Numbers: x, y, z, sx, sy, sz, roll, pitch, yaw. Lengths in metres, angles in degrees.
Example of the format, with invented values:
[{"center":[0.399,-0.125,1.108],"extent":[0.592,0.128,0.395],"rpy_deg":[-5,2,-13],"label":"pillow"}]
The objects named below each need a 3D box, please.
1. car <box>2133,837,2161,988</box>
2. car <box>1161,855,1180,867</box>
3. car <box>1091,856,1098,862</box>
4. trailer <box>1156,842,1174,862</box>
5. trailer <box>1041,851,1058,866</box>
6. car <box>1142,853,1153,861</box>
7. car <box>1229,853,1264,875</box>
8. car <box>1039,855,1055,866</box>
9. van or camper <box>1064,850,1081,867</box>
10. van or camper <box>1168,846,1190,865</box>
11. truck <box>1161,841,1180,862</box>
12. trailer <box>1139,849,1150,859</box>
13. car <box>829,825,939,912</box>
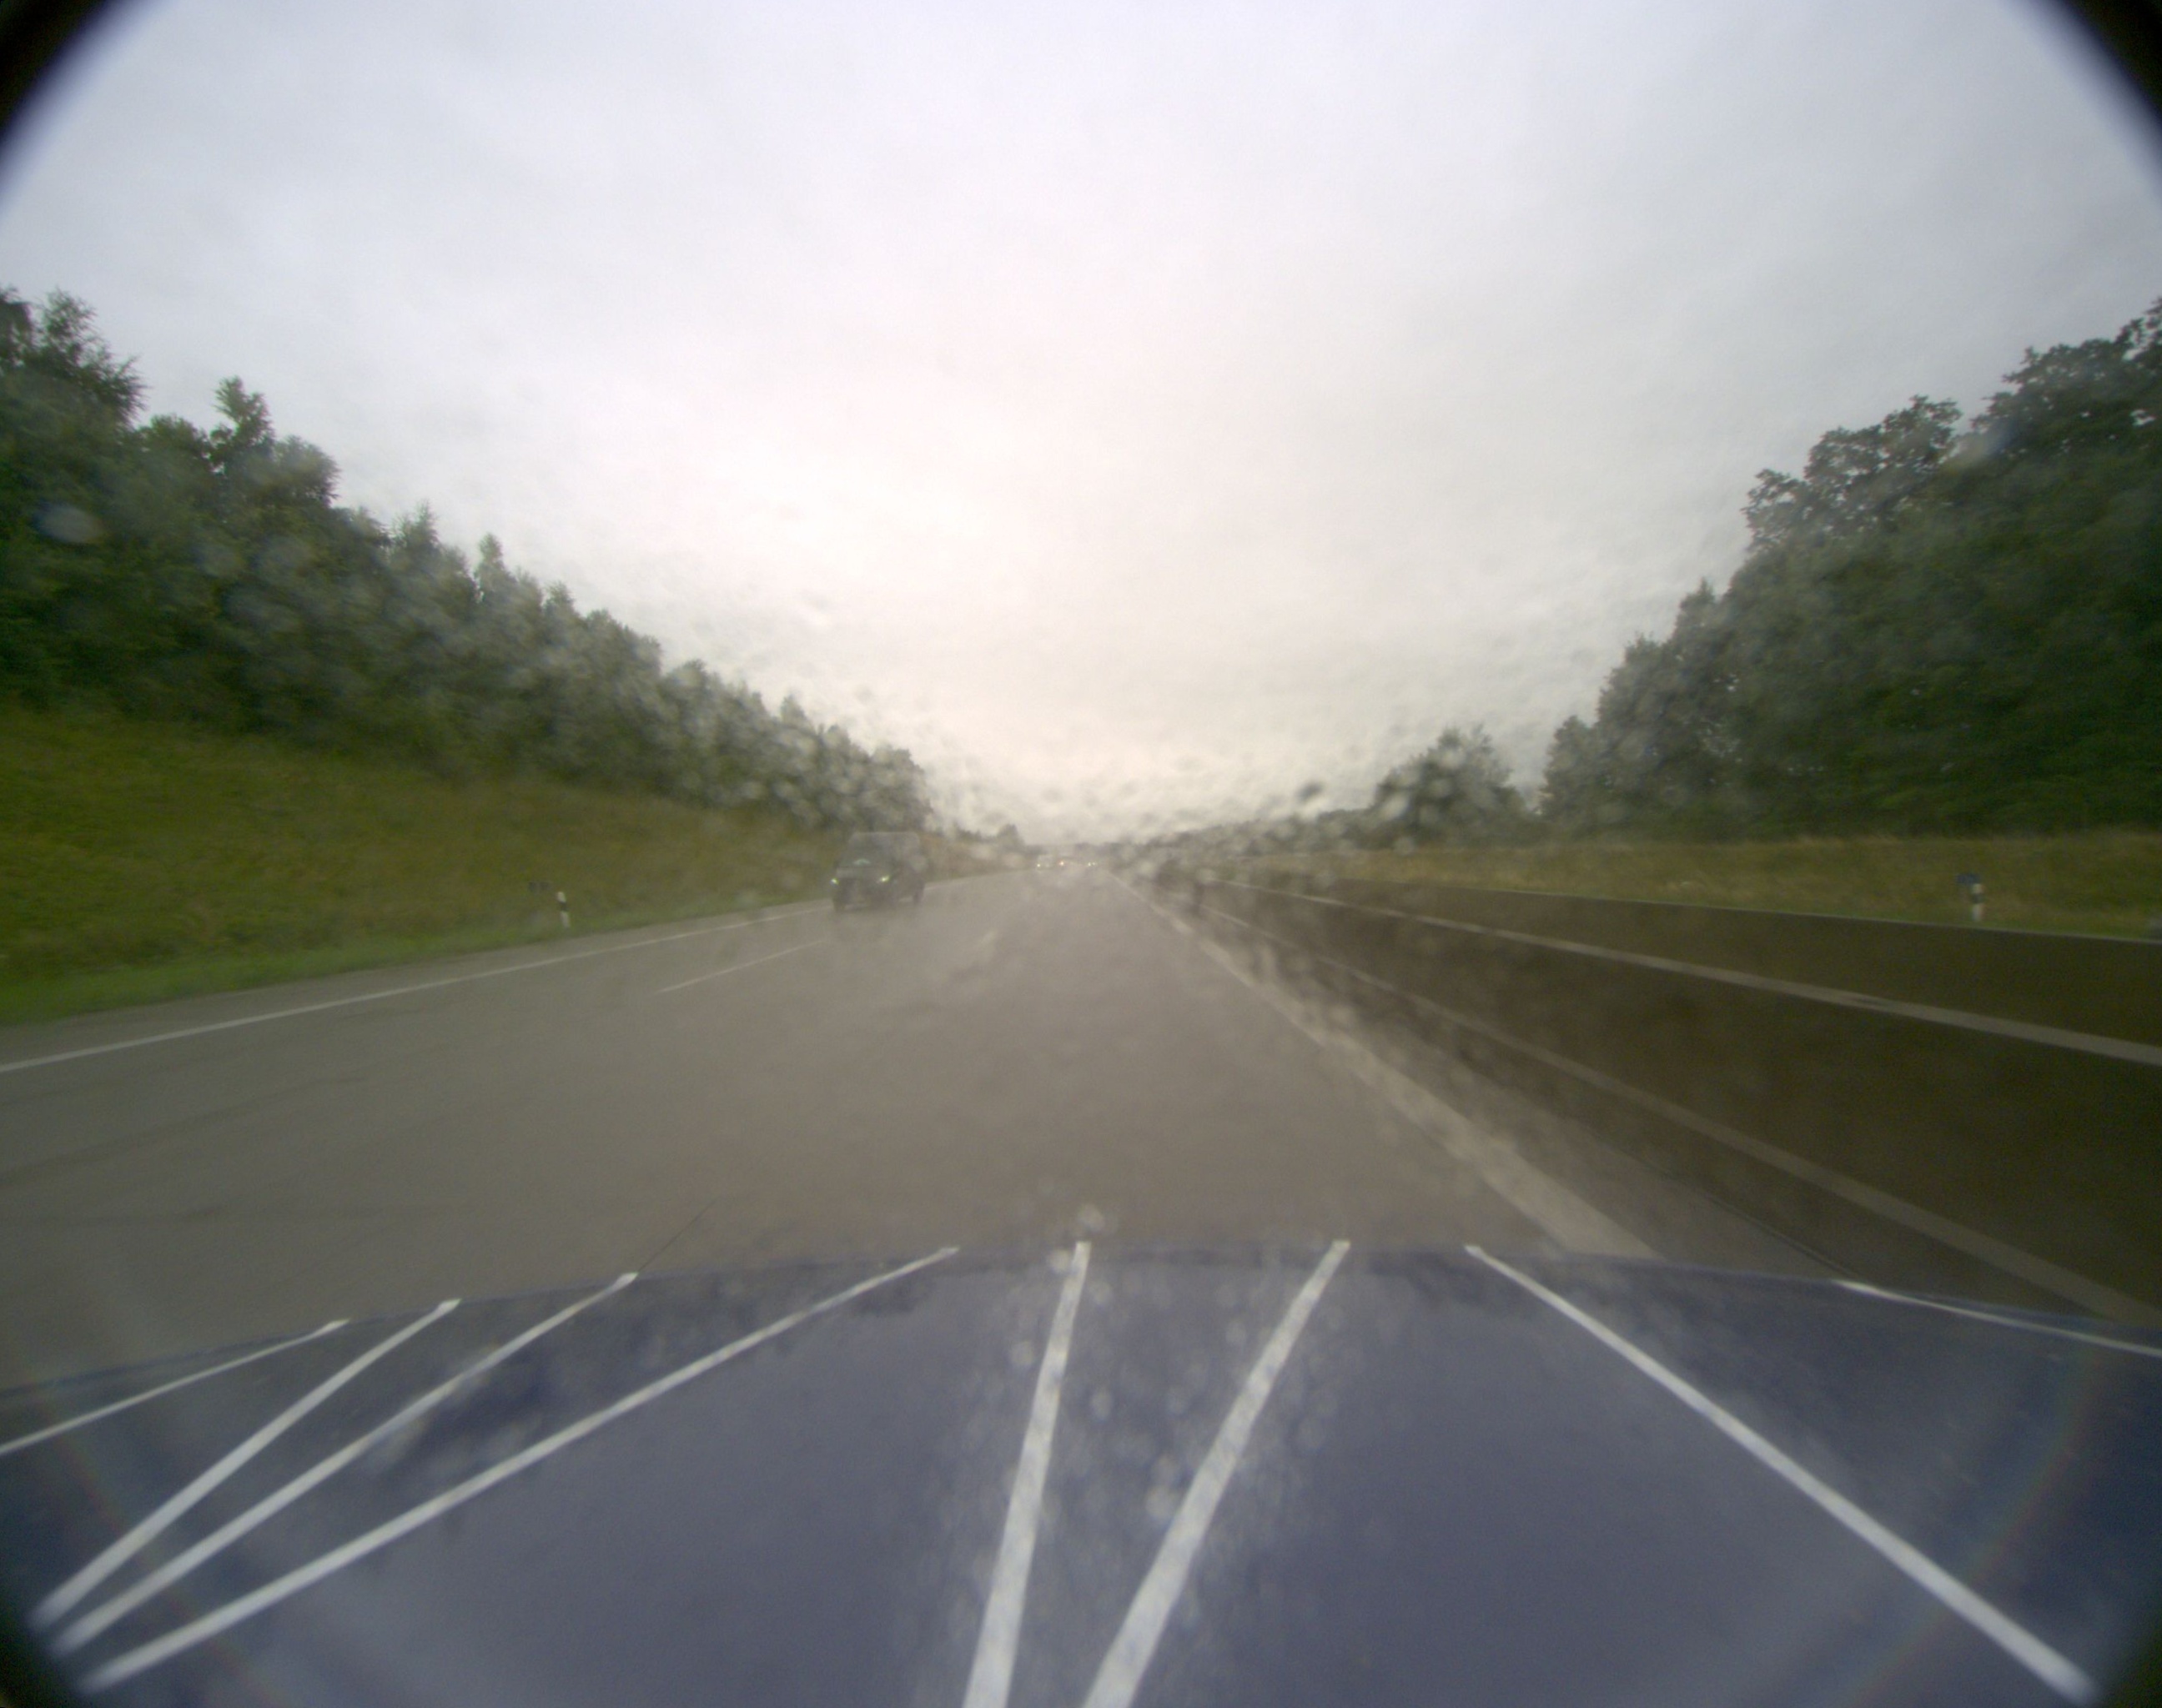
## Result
[{"center":[12.728,0.673,6.163],"extent":[1.884,1.655,4.687],"rpy_deg":[0,1,1],"label":"car"},{"center":[10.247,0.786,87.042],"extent":[1.743,1.326,4.099],"rpy_deg":[0,0,1],"label":"car"},{"center":[3.269,1.172,181.122],"extent":[1.733,1.450,4.671],"rpy_deg":[-1,1,1],"label":"car"},{"center":[17.812,-0.390,161.815],"extent":[2.593,4.023,10.374],"rpy_deg":[1,0,0],"label":"trailer"},{"center":[-5.152,0.734,125.753],"extent":[2.348,2.445,5.939],"rpy_deg":[0,1,2],"label":"trailer"},{"center":[11.768,0.554,135.136],"extent":[1.668,1.507,4.466],"rpy_deg":[0,0,1],"label":"car"},{"center":[13.182,0.787,60.780],"extent":[1.884,1.655,4.687],"rpy_deg":[0,0,1],"label":"car"},{"center":[-5.297,1.035,119.735],"extent":[1.998,1.575,5.954],"rpy_deg":[-2,0,2],"label":"car"},{"center":[-1.203,0.624,112.463],"extent":[2.233,2.537,7.950],"rpy_deg":[0,0,2],"label":"van or camper"},{"center":[14.466,0.217,112.528],"extent":[2.418,2.720,7.713],"rpy_deg":[0,1,1],"label":"van or camper"},{"center":[17.936,-0.475,152.313],"extent":[2.591,4.116,8.591],"rpy_deg":[1,0,-1],"label":"truck"},{"center":[15.042,-0.075,179.521],"extent":[2.043,2.359,5.833],"rpy_deg":[0,0,1],"label":"trailer"},{"center":[-6.802,0.475,27.151],"extent":[1.945,2.643,6.587],"rpy_deg":[-2,0,2],"label":"car"}]
